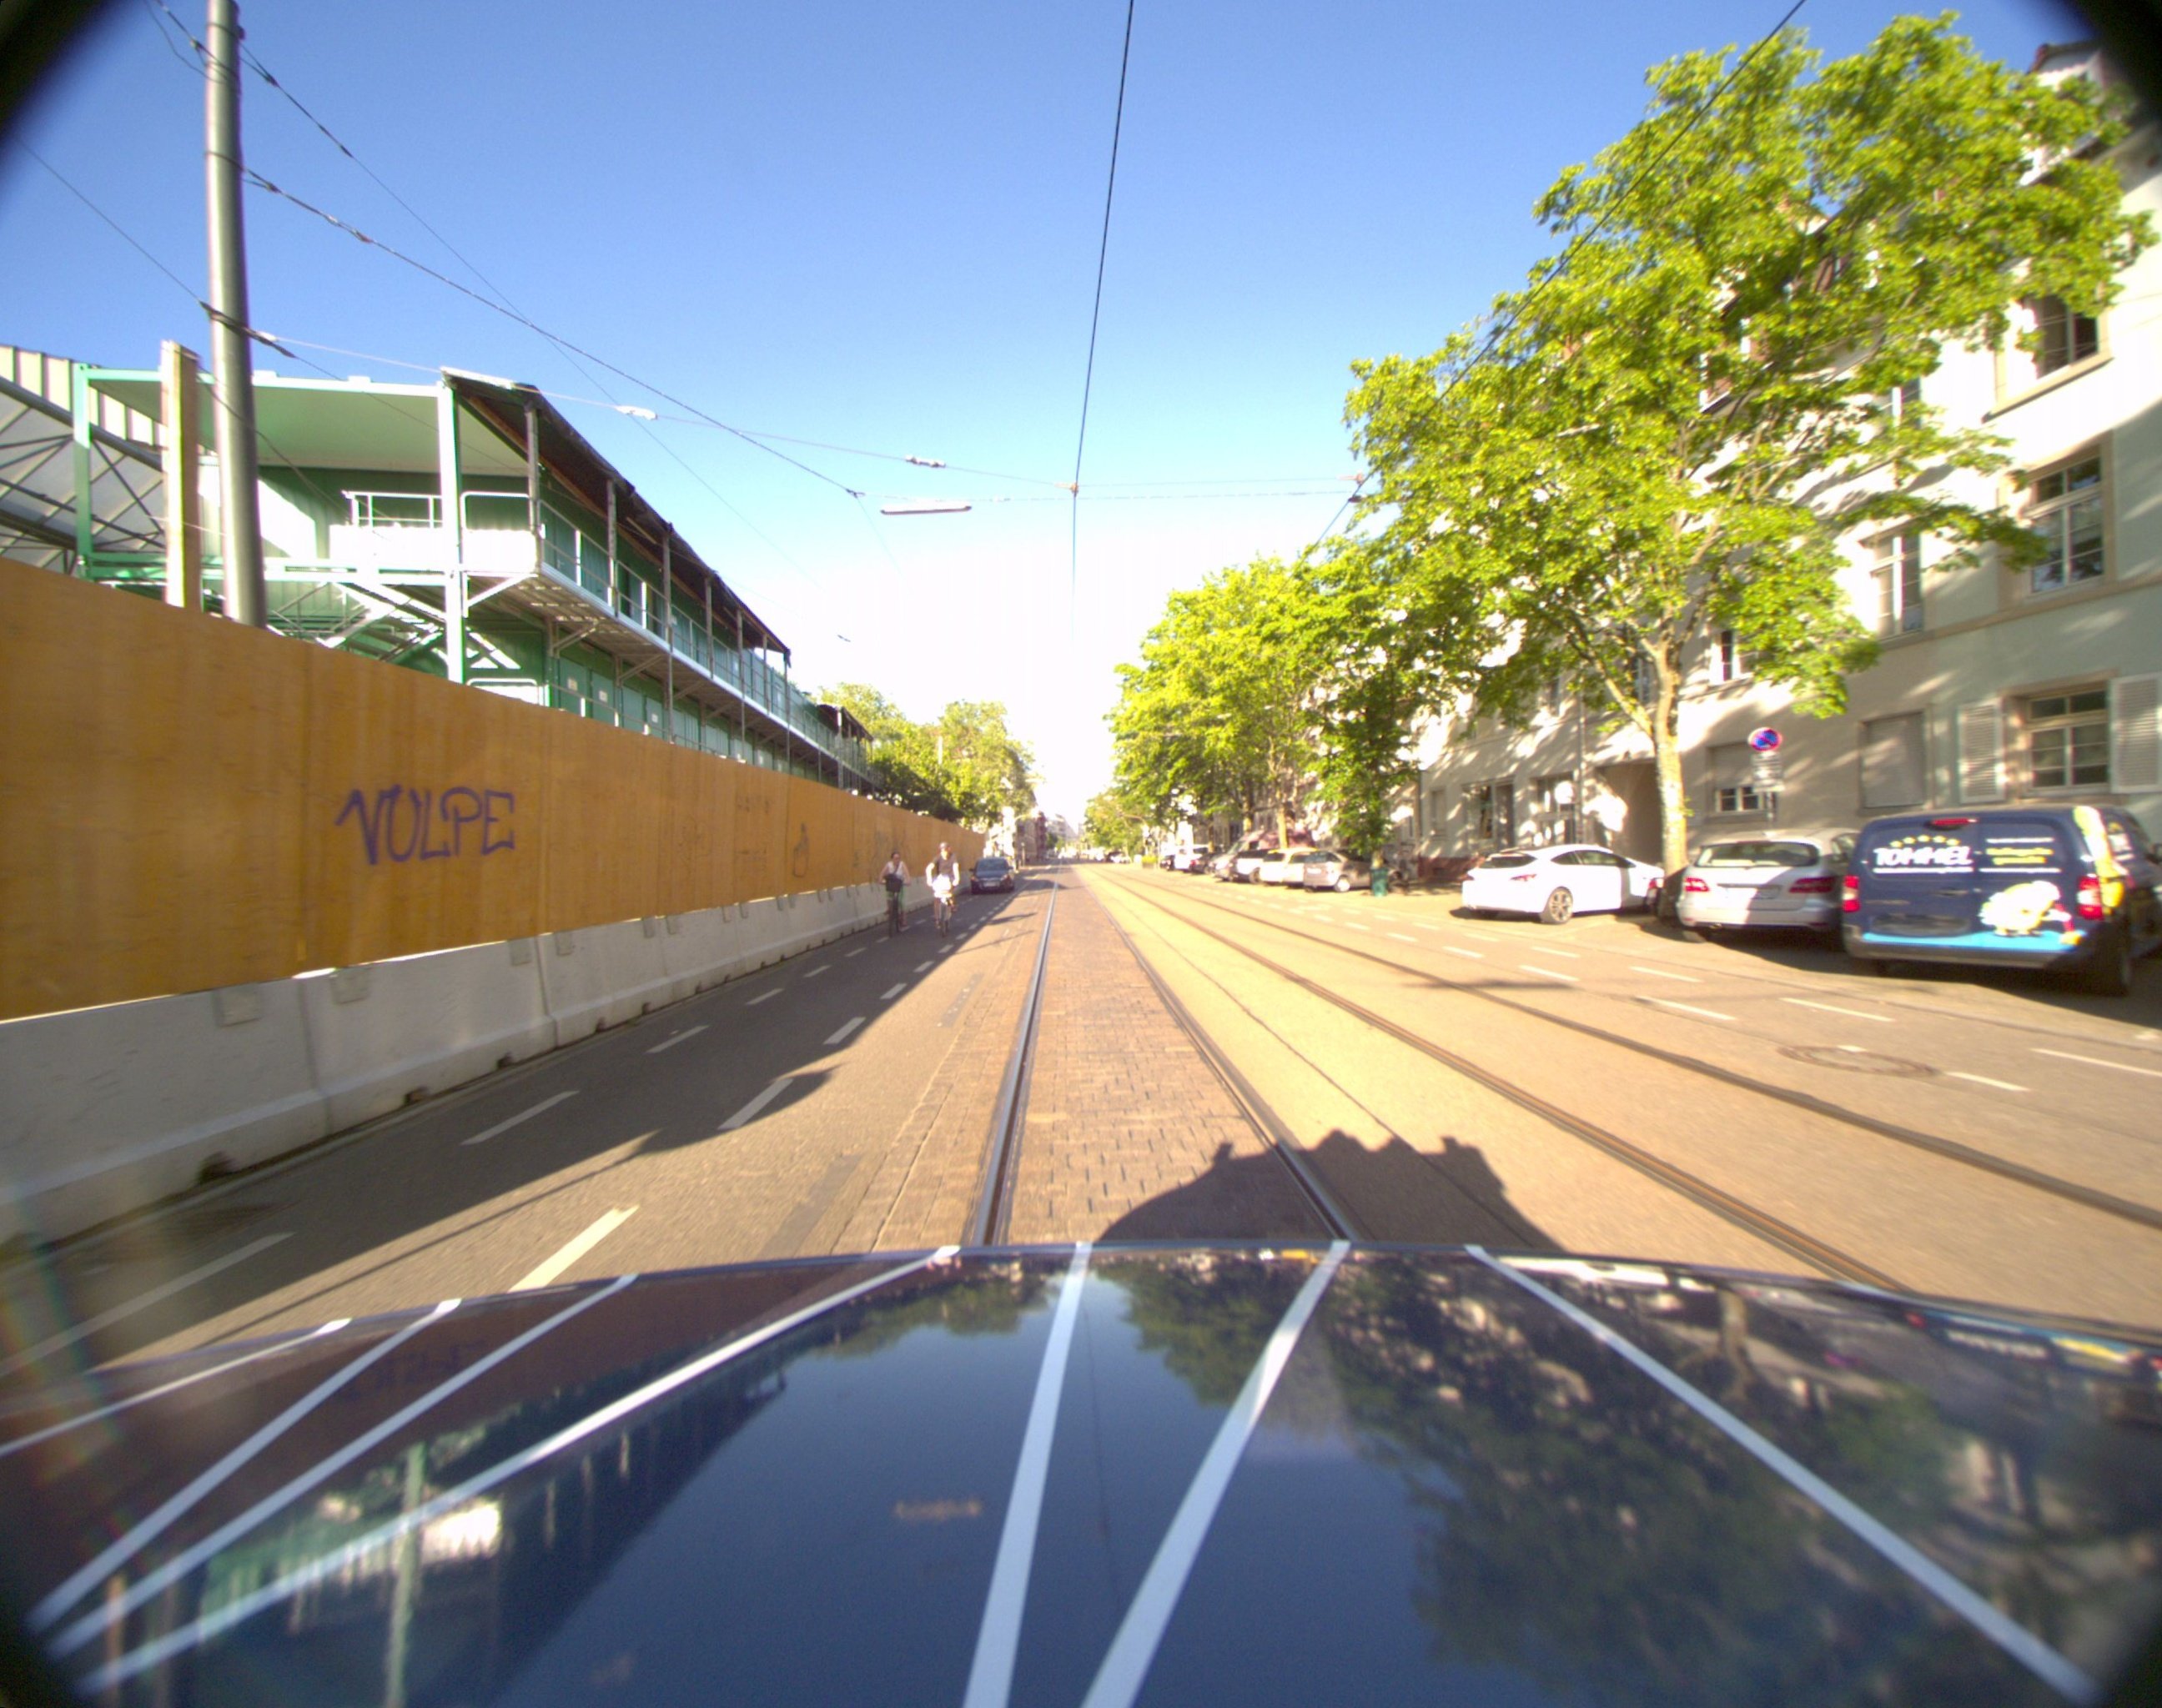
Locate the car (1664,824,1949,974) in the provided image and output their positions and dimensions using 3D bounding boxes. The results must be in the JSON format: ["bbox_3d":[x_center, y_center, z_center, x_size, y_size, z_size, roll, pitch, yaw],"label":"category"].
[{"bbox_3d":[10.508,0.539,10.967,4.005,1.647,1.807,-4,0,-29],"label":"car"}]

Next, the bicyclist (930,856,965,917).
[{"bbox_3d":[-2.743,0.667,15.595,0.653,1.230,0.353,0,1,-3],"label":"bicyclist"}]

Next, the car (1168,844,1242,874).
[{"bbox_3d":[8.977,0.334,54.872,4.947,2.002,2.071,-1,0,-25],"label":"car"}]

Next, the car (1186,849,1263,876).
[{"bbox_3d":[9.649,0.558,51.184,4.708,1.567,1.953,-3,0,-6],"label":"car"}]

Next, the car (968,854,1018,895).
[{"bbox_3d":[-3.852,0.858,33.941,1.750,1.612,4.169,-2,0,-1],"label":"car"}]

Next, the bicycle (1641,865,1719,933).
[{"bbox_3d":[10.826,0.796,13.735,1.476,1.153,0.436,-1,1,-22],"label":"bicycle"}]

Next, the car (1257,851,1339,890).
[{"bbox_3d":[9.369,0.688,32.774,3.380,1.544,1.381,-1,1,-29],"label":"car"}]

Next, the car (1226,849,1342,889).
[{"bbox_3d":[9.583,0.669,36.153,4.842,1.714,2.163,-1,0,-3],"label":"car"}]

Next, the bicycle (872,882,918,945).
[{"bbox_3d":[-3.830,1.195,15.781,0.559,1.120,2.275,-2,0,-5],"label":"bicycle"}]

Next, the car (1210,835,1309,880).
[{"bbox_3d":[9.071,0.178,38.841,4.449,2.105,2.163,-2,0,-3],"label":"car"}]

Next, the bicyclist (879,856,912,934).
[{"bbox_3d":[-3.887,0.851,15.927,0.557,1.603,0.576,0,1,-3],"label":"bicyclist"}]

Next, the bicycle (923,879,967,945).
[{"bbox_3d":[-2.764,1.147,15.633,0.669,1.148,2.274,-3,0,-6],"label":"bicycle"}]

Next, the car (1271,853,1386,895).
[{"bbox_3d":[9.668,0.738,29.664,4.177,1.543,1.699,0,0,-23],"label":"car"}]

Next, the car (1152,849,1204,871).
[{"bbox_3d":[8.044,0.483,63.009,4.006,1.549,1.777,-3,1,-31],"label":"car"}]

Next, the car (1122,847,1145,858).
[{"bbox_3d":[7.716,-0.213,112.102,3.337,1.445,1.496,-2,2,0],"label":"car"}]

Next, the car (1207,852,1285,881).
[{"bbox_3d":[9.600,0.715,44.271,4.102,1.445,1.668,-3,1,-16],"label":"car"}]

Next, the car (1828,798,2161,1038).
[{"bbox_3d":[9.875,0.502,8.130,3.449,1.833,1.729,-7,3,-29],"label":"car"}]

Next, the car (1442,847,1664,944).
[{"bbox_3d":[9.406,0.741,15.191,3.650,1.521,1.883,-4,2,-21],"label":"car"}]

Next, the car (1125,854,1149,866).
[{"bbox_3d":[7.886,0.810,107.329,3.336,1.445,1.496,-2,2,3],"label":"car"}]

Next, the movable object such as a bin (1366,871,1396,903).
[{"bbox_3d":[9.245,1.015,23.425,0.623,0.939,0.670,0,1,-2],"label":"movable object such as a bin"}]

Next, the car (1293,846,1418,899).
[{"bbox_3d":[9.722,0.612,26.912,4.004,1.667,1.699,-2,0,-21],"label":"car"}]
